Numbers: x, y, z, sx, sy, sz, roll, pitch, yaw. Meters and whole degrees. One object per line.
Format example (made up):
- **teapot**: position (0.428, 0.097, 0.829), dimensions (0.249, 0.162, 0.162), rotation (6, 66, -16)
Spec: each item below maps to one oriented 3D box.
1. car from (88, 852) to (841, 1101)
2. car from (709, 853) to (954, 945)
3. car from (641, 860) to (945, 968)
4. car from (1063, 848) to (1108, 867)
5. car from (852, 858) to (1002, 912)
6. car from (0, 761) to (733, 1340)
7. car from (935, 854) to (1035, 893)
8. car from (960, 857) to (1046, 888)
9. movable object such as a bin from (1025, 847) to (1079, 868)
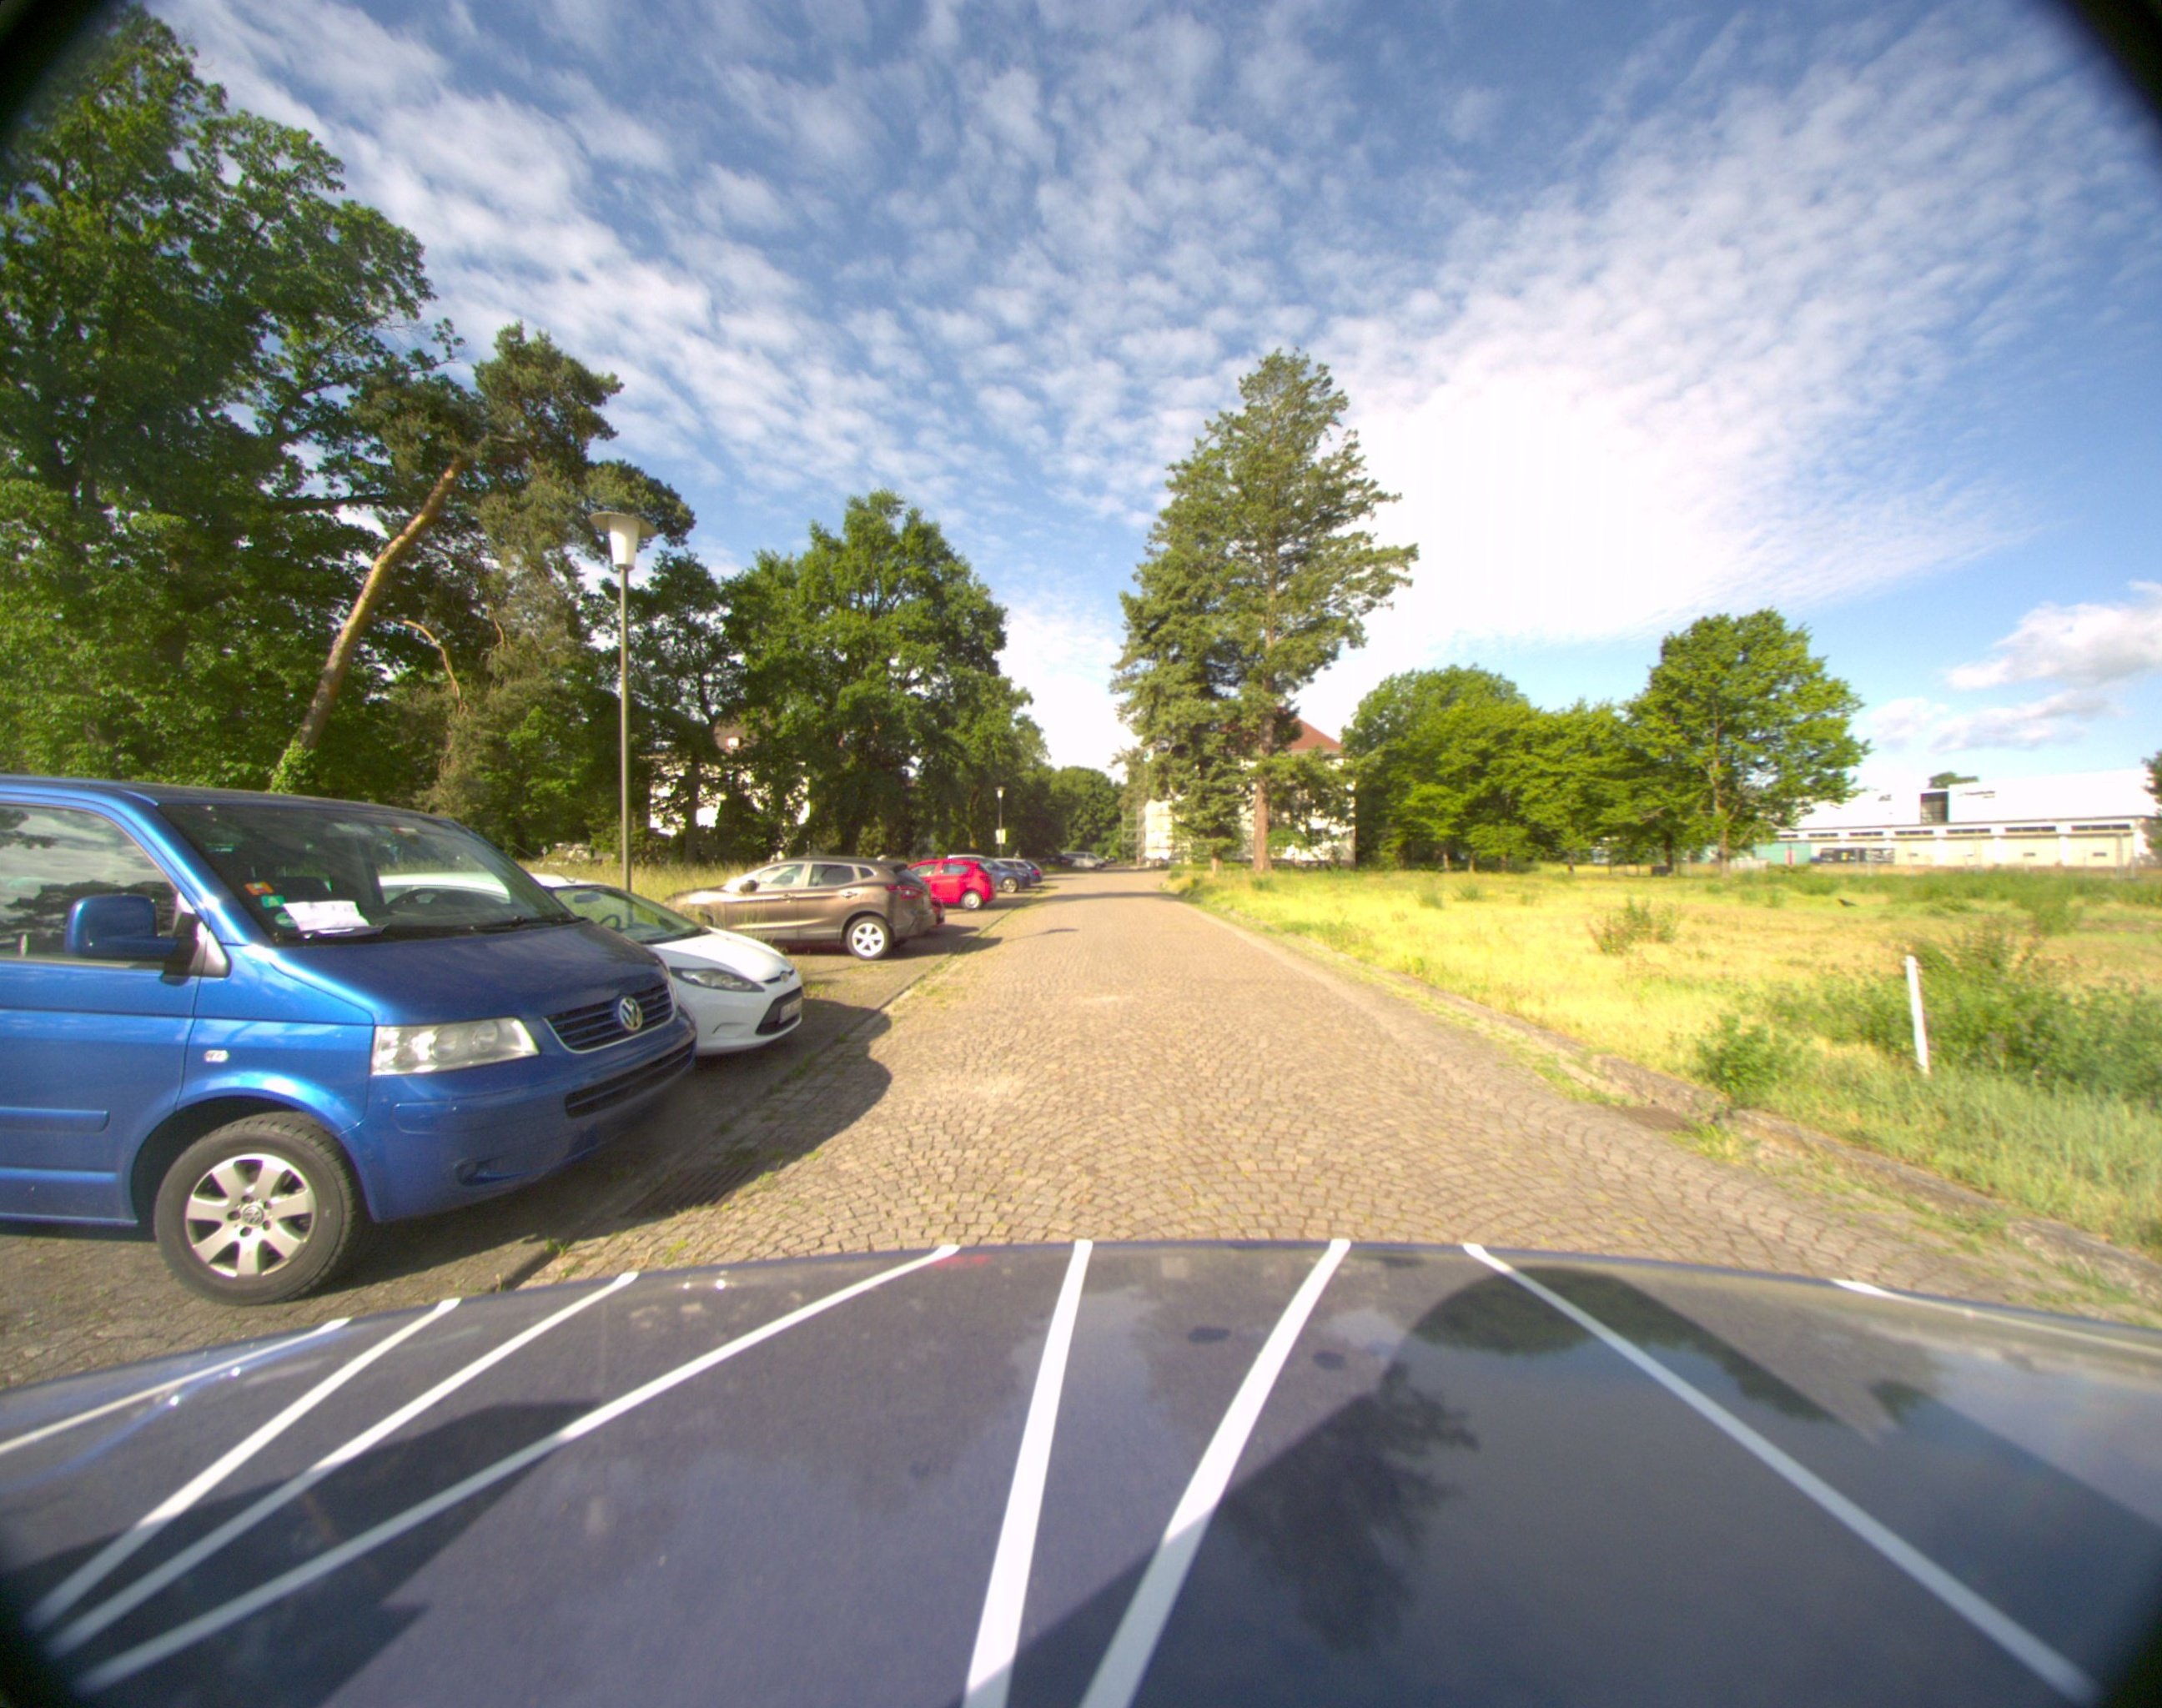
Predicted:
- **car**: position (-4.437, 0.816, 6.043), dimensions (4.408, 1.568, 1.939), rotation (1, 1, 0)
- **car**: position (-4.804, 0.847, 15.125), dimensions (4.237, 1.589, 1.934), rotation (1, 1, -2)
- **car**: position (-4.492, 0.916, 12.415), dimensions (4.237, 1.589, 1.934), rotation (0, 1, -2)
- **car**: position (0.476, 0.378, 86.446), dimensions (4.933, 2.002, 1.999), rotation (1, 1, -5)
- **car**: position (-4.529, 0.906, 22.815), dimensions (4.098, 1.451, 1.853), rotation (1, 0, -1)
- **car**: position (-4.460, 0.626, 3.567), dimensions (4.710, 1.924, 2.000), rotation (1, 1, 0)
- **car**: position (-4.102, 0.833, 33.037), dimensions (4.098, 1.548, 1.853), rotation (1, 0, -1)
- **car**: position (-3.816, 0.904, 37.722), dimensions (4.098, 1.415, 1.784), rotation (1, 0, -1)
- **movable object such as a bin**: position (-2.790, 0.345, 73.565), dimensions (4.865, 2.002, 2.002), rotation (-1, 0, 14)
